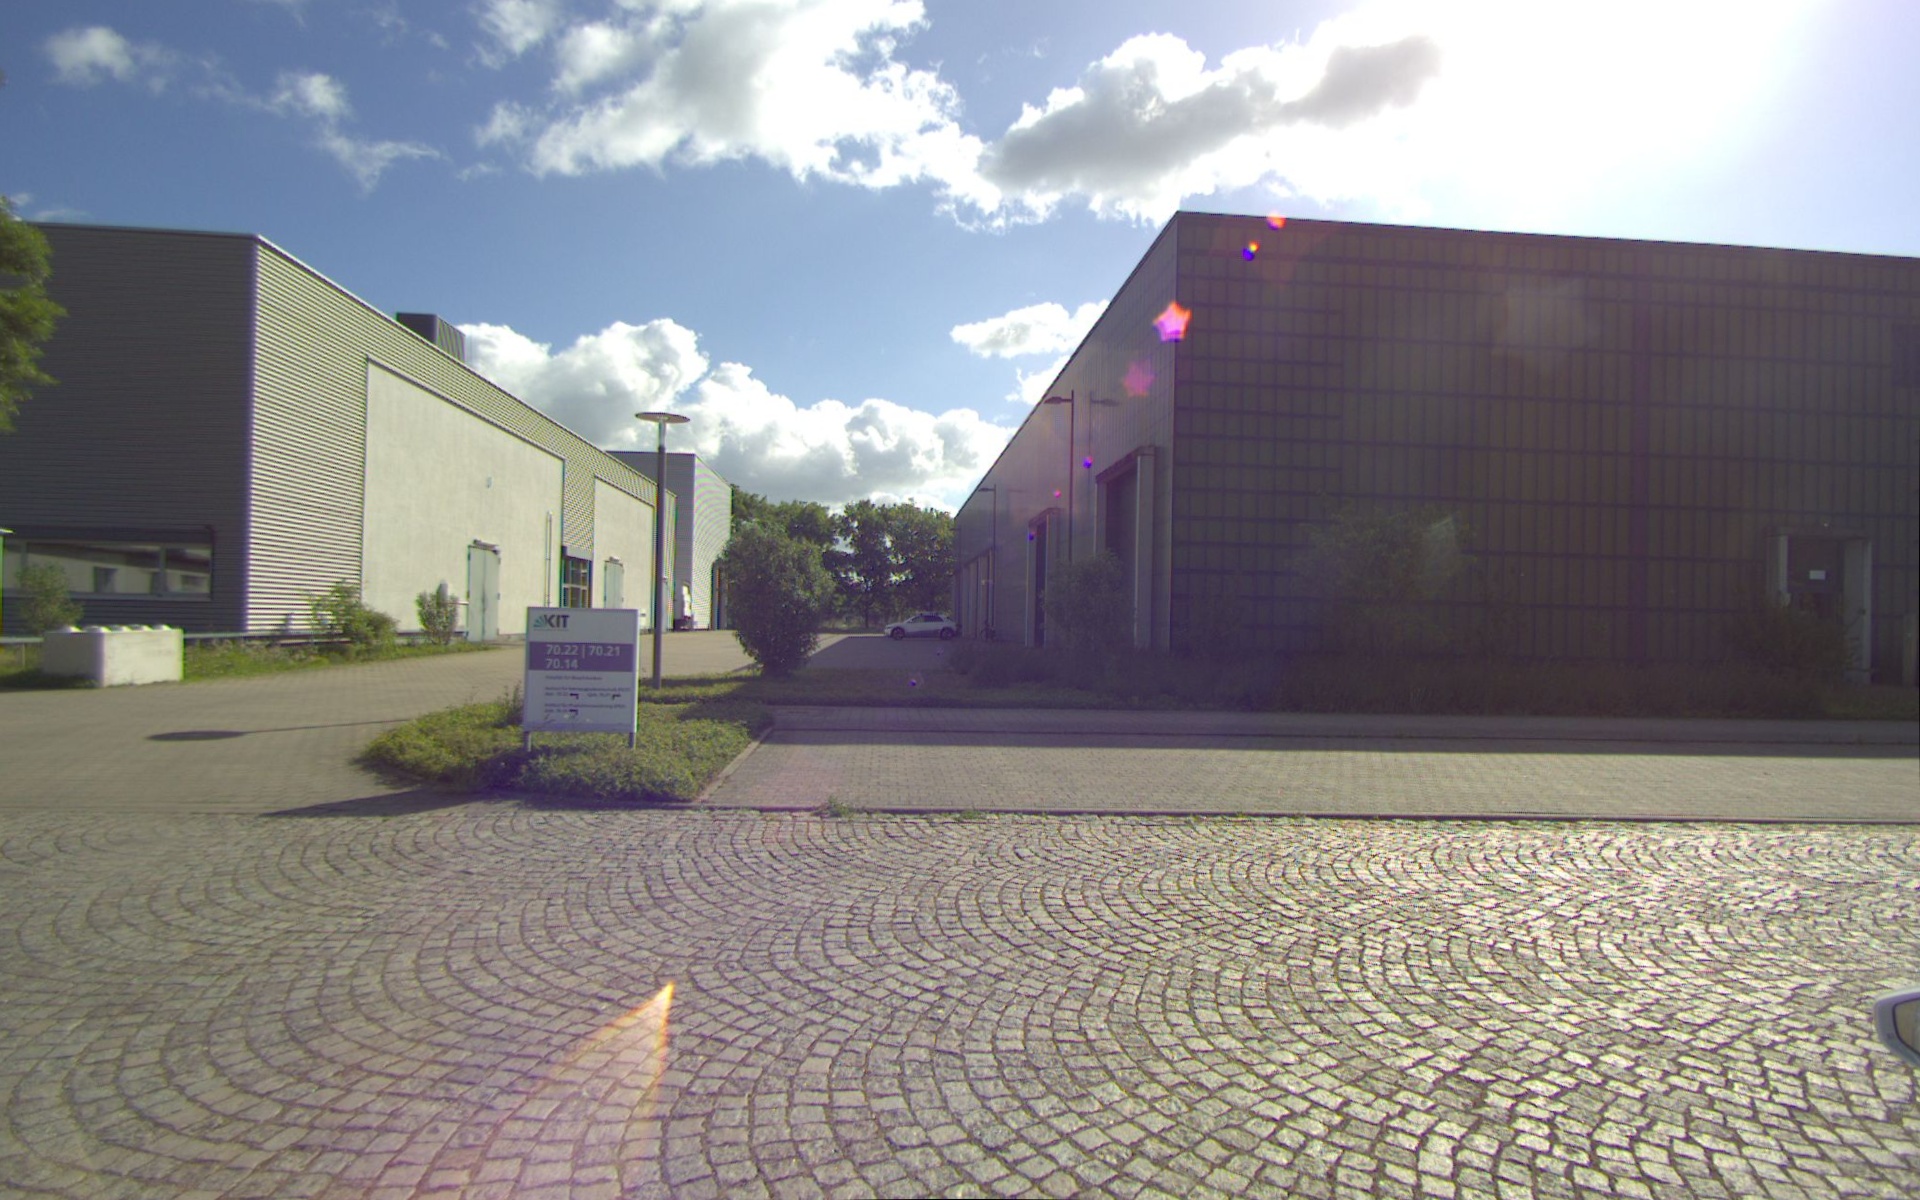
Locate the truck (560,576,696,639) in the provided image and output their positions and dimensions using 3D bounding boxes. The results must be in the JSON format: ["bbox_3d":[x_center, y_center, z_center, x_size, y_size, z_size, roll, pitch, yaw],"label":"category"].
[{"bbox_3d":[-21.657,0.535,65.863,7.948,3.868,2.649,1,-1,-4],"label":"truck"}]

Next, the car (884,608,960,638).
[{"bbox_3d":[-2.364,1.389,61.532,4.493,1.685,1.998,1,-1,-6],"label":"car"}]
